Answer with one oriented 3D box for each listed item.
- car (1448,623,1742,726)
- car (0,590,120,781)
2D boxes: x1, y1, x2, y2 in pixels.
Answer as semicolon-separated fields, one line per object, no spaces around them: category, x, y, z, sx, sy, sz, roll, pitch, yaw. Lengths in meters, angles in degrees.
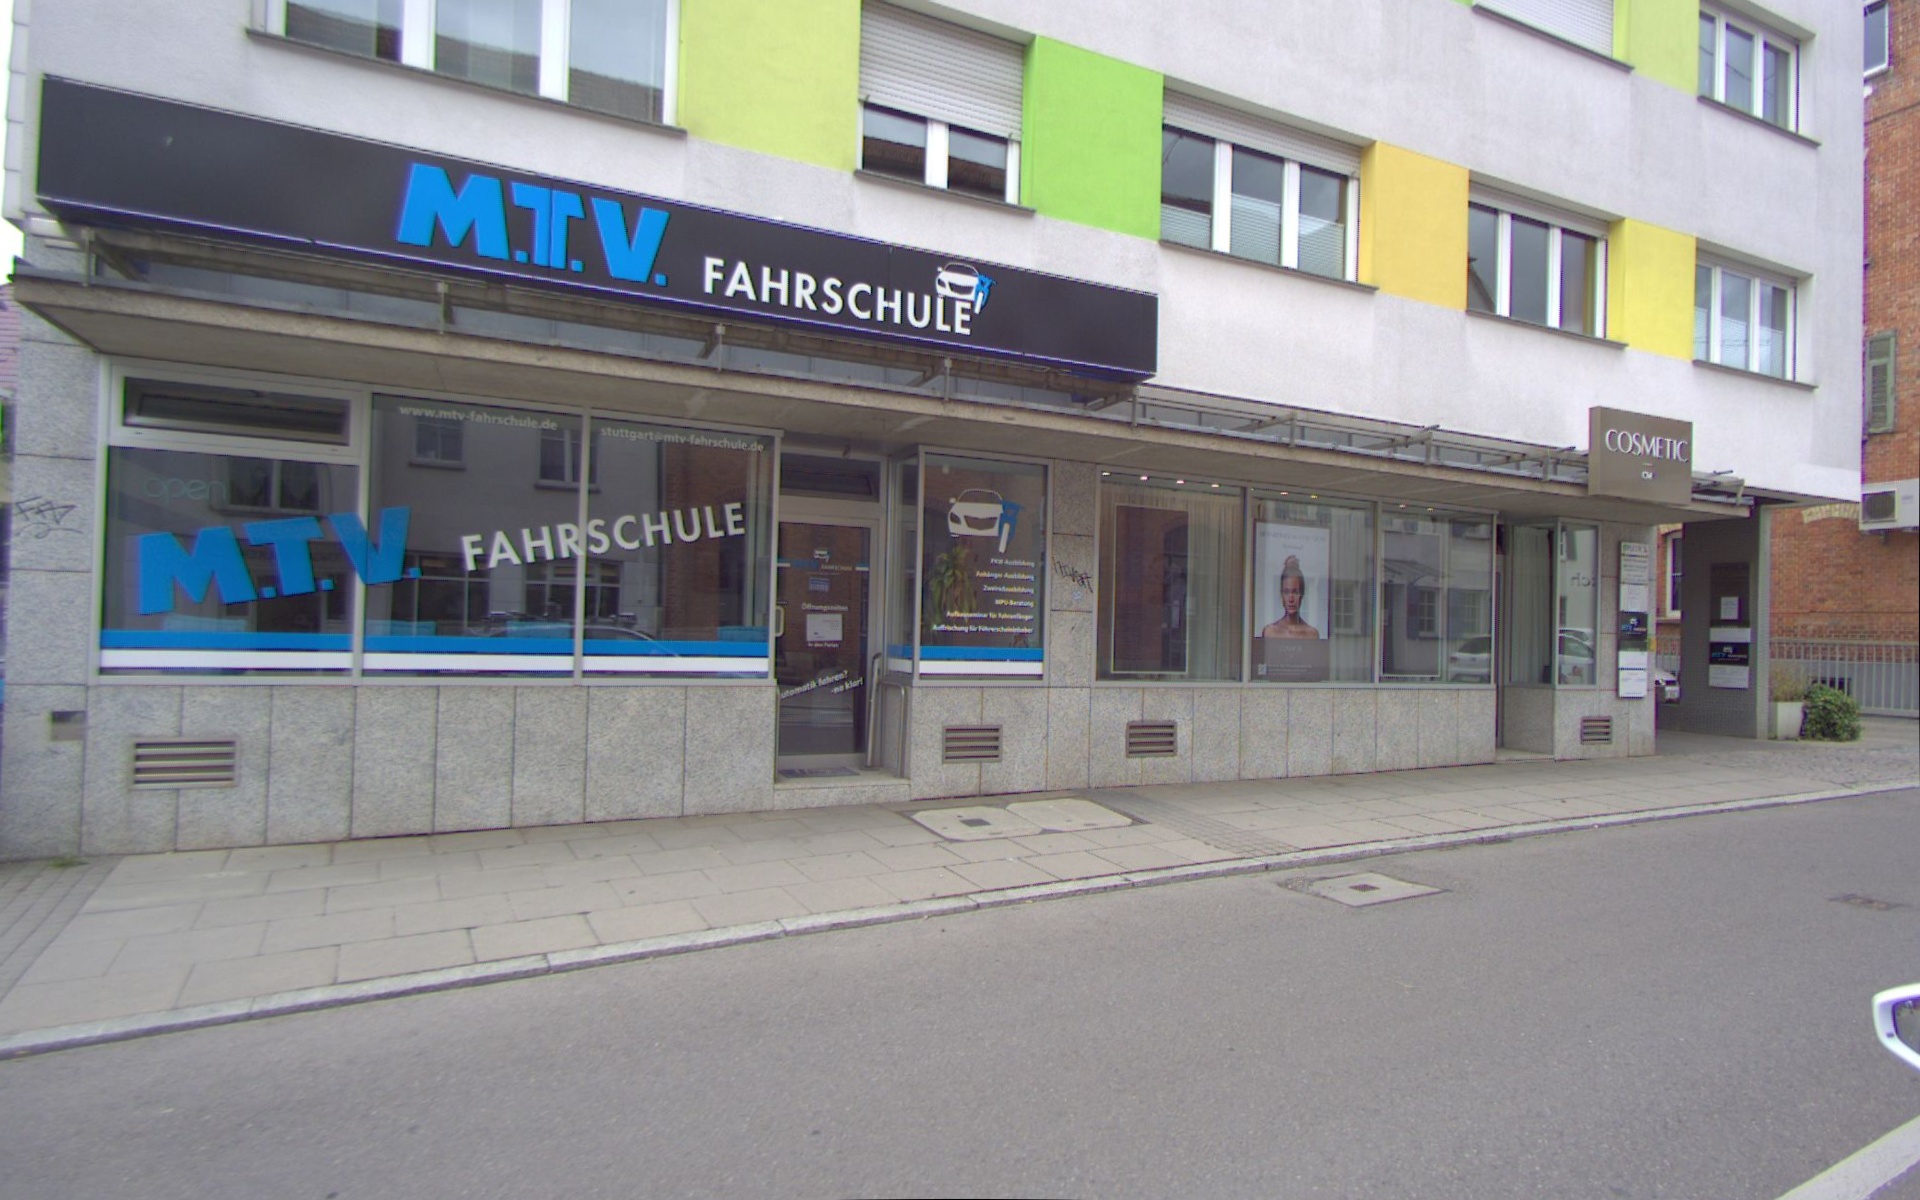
car;11.053;1.208;17.772;1.974;1.550;3.972;1;-1;-27
car;-9.646;0.684;8.191;4.255;1.584;1.976;2;-2;-41
